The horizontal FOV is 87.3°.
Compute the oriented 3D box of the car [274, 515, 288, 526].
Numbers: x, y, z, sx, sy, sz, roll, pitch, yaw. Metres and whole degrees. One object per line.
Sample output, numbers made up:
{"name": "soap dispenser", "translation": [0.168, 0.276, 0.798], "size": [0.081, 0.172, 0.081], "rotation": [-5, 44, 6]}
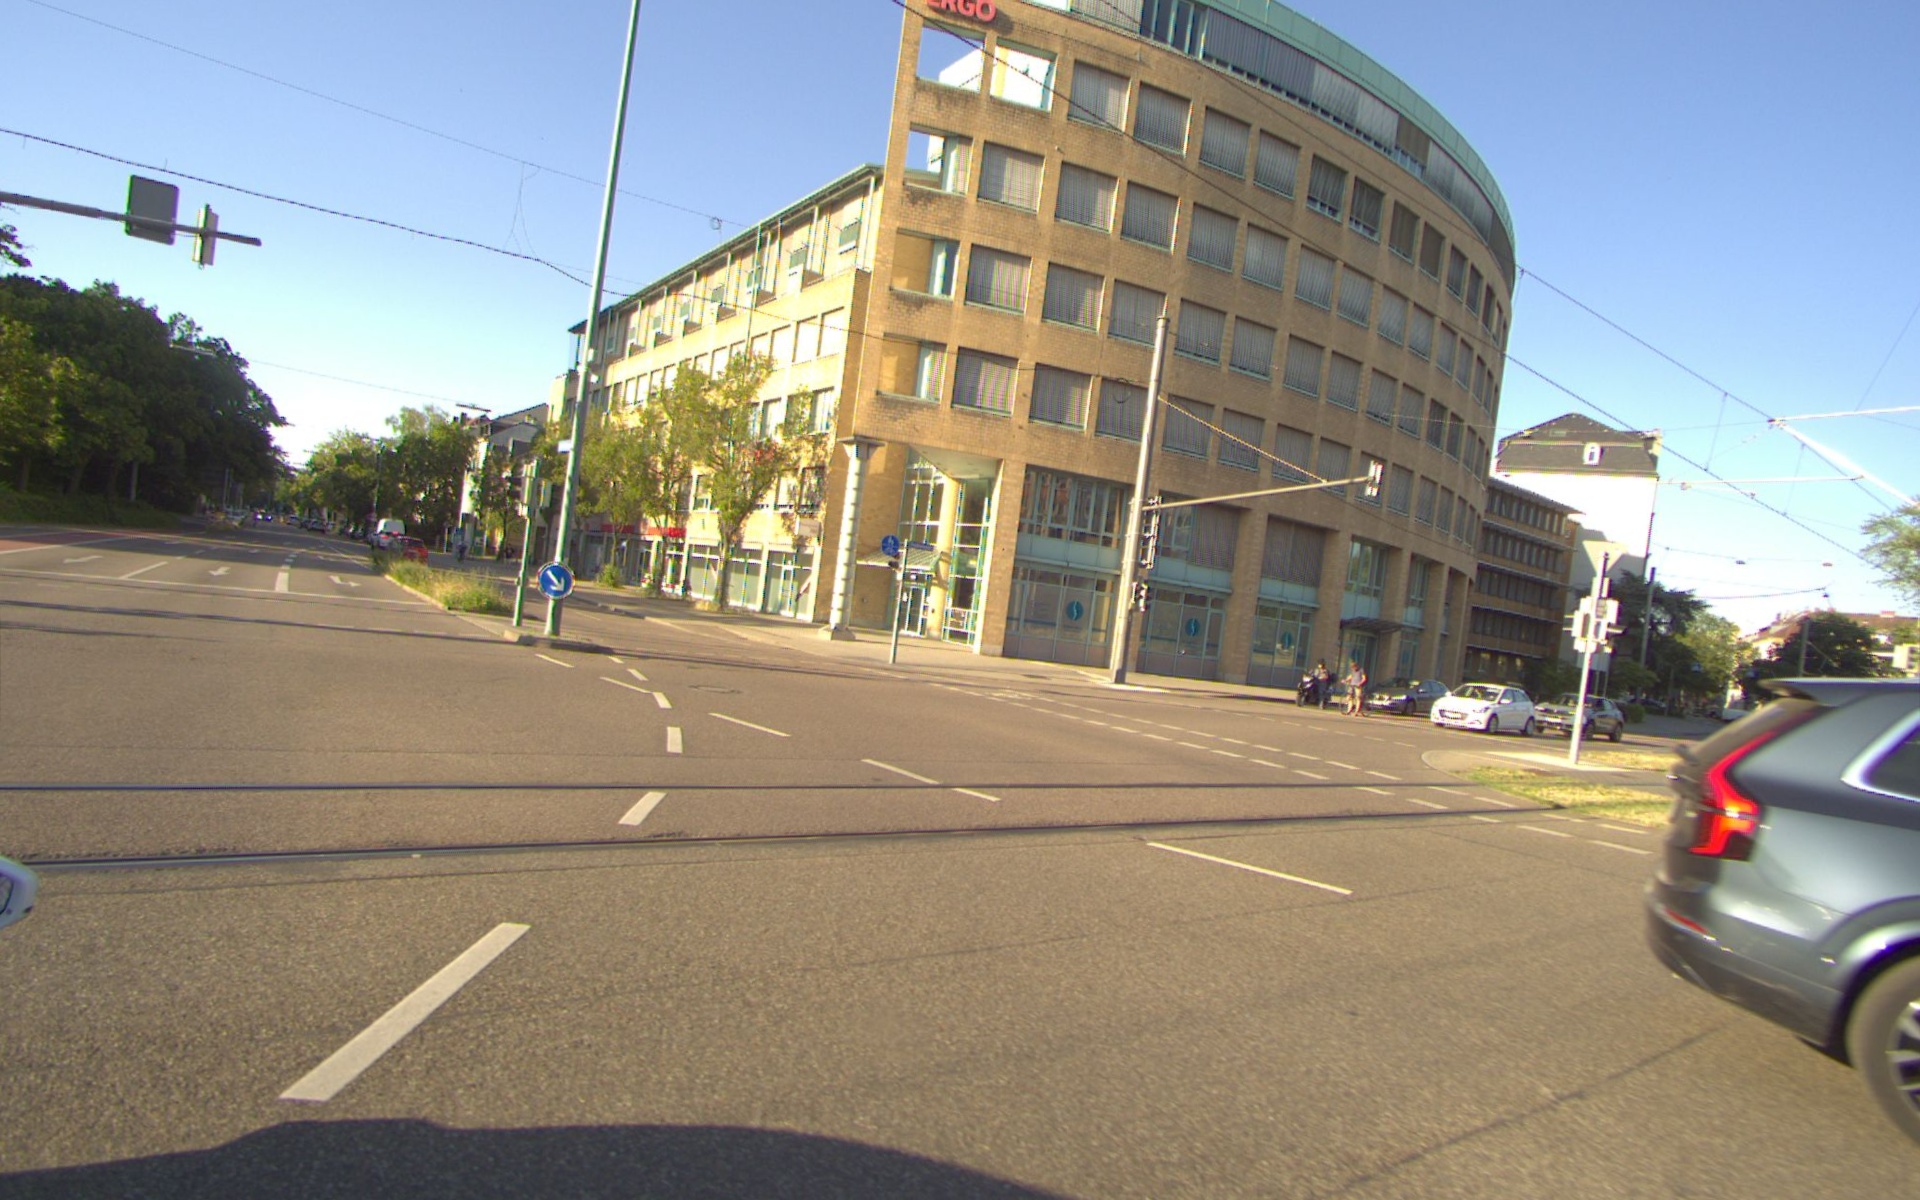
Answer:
{"name": "car", "translation": [-119.166, -13.948, 176.625], "size": [1.876, 1.690, 3.962], "rotation": [9, -1, -34]}

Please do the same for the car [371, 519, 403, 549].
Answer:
{"name": "car", "translation": [-53.653, -6.169, 94.154], "size": [1.983, 2.469, 3.962], "rotation": [9, -1, -34]}

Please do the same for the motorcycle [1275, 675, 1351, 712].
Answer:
{"name": "motorcycle", "translation": [12.023, 3.194, 34.200], "size": [2.703, 0.975, 1.022], "rotation": [8, 0, -36]}

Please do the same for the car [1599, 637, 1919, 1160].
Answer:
{"name": "car", "translation": [5.256, 1.312, 3.441], "size": [4.953, 1.744, 1.994], "rotation": [6, -1, 36]}

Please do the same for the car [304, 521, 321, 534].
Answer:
{"name": "car", "translation": [-78.609, -8.802, 122.175], "size": [1.585, 1.283, 3.235], "rotation": [7, 0, -34]}

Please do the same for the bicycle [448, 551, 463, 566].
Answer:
{"name": "bicycle", "translation": [-35.881, -2.959, 71.596], "size": [0.589, 0.954, 1.959], "rotation": [9, 0, -34]}

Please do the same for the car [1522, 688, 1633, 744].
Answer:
{"name": "car", "translation": [21.577, 4.064, 35.125], "size": [4.030, 1.510, 1.802], "rotation": [8, -1, -36]}

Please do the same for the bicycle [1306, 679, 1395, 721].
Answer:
{"name": "bicycle", "translation": [12.257, 3.137, 31.549], "size": [2.945, 1.013, 1.142], "rotation": [8, 0, -37]}

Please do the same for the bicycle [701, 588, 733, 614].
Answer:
{"name": "bicycle", "translation": [-11.197, 0.043, 46.282], "size": [0.642, 1.007, 2.061], "rotation": [7, 0, -35]}

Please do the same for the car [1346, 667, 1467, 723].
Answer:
{"name": "car", "translation": [16.728, 3.564, 37.628], "size": [4.455, 1.556, 1.968], "rotation": [8, -1, -35]}

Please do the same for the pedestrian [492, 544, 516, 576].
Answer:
{"name": "pedestrian", "translation": [-30.987, -2.744, 68.379], "size": [1.101, 2.000, 1.150], "rotation": [7, 0, -35]}

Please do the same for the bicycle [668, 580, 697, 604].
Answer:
{"name": "bicycle", "translation": [-13.851, -0.392, 50.133], "size": [0.642, 1.007, 2.061], "rotation": [7, 0, -35]}

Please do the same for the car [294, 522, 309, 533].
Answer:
{"name": "car", "translation": [-89.162, -9.845, 136.262], "size": [1.585, 1.283, 3.235], "rotation": [7, 0, -34]}

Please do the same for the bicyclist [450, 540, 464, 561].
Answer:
{"name": "bicyclist", "translation": [-35.803, -3.498, 71.593], "size": [0.589, 1.385, 0.921], "rotation": [9, 0, -35]}

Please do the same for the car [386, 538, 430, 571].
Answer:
{"name": "car", "translation": [-31.305, -2.609, 56.993], "size": [1.661, 1.479, 3.962], "rotation": [9, -1, -35]}

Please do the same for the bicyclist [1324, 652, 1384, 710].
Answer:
{"name": "bicyclist", "translation": [12.360, 2.539, 31.578], "size": [1.216, 1.591, 1.142], "rotation": [7, 0, -37]}

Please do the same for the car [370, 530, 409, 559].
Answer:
{"name": "car", "translation": [-40.447, -3.952, 71.272], "size": [1.906, 1.626, 4.229], "rotation": [9, -1, -35]}

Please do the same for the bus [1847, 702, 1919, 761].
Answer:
{"name": "bus", "translation": [61.816, 8.698, 67.368], "size": [2.374, 3.248, 11.083], "rotation": [7, -1, 37]}

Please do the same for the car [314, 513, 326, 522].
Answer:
{"name": "car", "translation": [-116.728, -15.004, 183.395], "size": [1.585, 1.283, 3.235], "rotation": [7, 0, -34]}

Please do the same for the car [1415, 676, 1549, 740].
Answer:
{"name": "car", "translation": [16.120, 3.353, 31.025], "size": [4.142, 1.510, 1.975], "rotation": [8, -1, -37]}

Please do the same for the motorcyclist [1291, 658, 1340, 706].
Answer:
{"name": "motorcyclist", "translation": [12.086, 2.777, 34.203], "size": [1.059, 1.453, 1.022], "rotation": [7, 0, -36]}

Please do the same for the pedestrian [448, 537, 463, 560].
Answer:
{"name": "pedestrian", "translation": [-42.785, -4.356, 85.280], "size": [0.842, 1.826, 0.768], "rotation": [7, 1, -35]}

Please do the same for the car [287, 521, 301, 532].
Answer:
{"name": "car", "translation": [-100.271, -11.063, 151.447], "size": [1.585, 1.283, 3.235], "rotation": [7, 0, -34]}
